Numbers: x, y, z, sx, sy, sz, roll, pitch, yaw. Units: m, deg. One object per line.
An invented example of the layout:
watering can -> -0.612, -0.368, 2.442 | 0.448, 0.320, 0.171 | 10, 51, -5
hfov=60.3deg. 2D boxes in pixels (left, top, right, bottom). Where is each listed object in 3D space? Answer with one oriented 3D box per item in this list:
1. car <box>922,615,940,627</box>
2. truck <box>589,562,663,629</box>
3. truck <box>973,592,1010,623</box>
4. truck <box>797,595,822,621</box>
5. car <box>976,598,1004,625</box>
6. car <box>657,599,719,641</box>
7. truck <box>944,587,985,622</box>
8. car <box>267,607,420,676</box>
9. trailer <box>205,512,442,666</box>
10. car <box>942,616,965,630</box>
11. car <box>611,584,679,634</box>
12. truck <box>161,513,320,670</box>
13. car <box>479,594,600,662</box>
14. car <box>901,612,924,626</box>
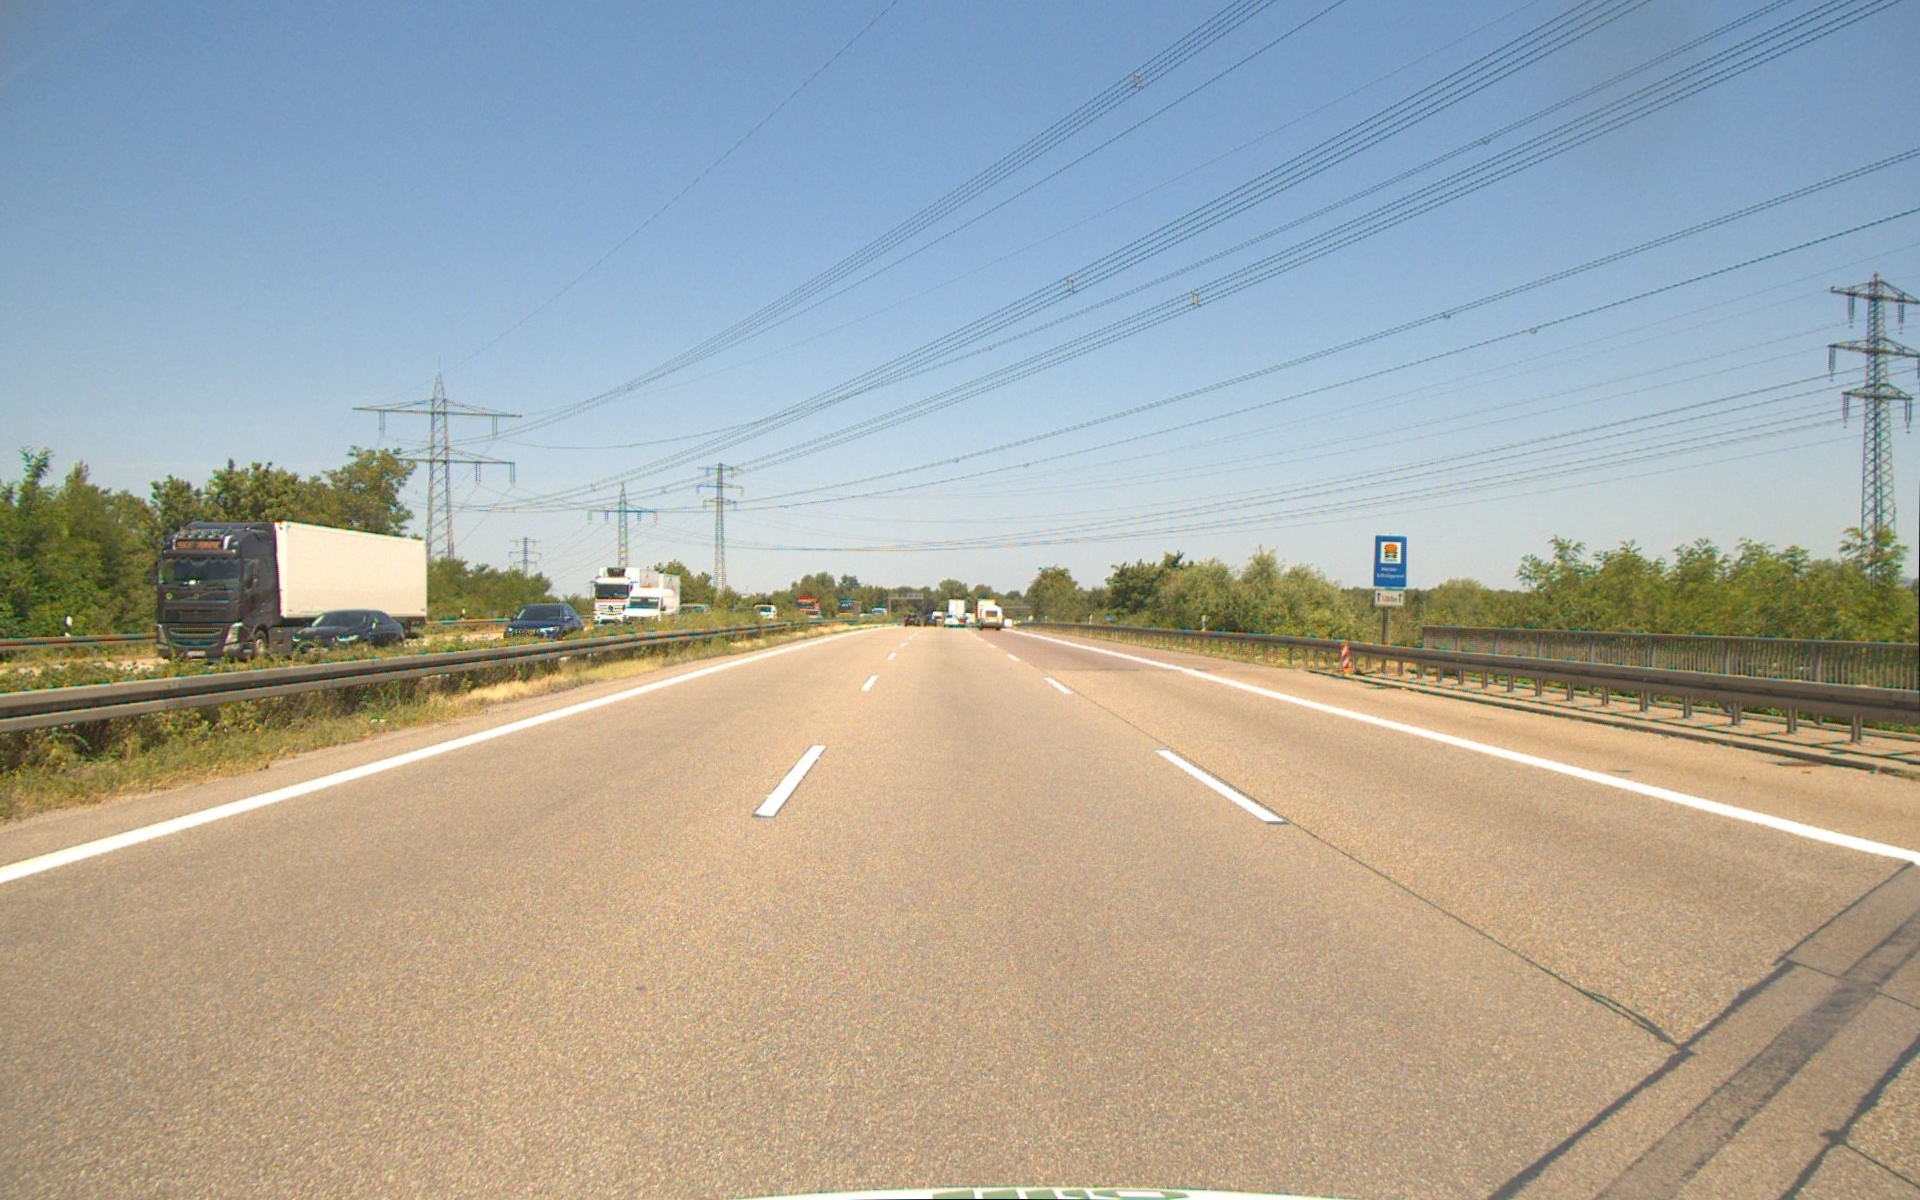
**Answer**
car -> -4.242, 3.082, 242.046 | 1.789, 1.574, 4.322 | 2, 0, 9
truck -> -21.277, -0.297, 105.955 | 2.637, 4.019, 10.590 | 2, 0, -1
truck -> 4.804, 1.147, 248.391 | 3.113, 4.379, 16.030 | 2, 0, 10
truck -> -20.972, 1.104, 231.030 | 2.714, 3.588, 8.532 | 2, 0, 0
car -> 2.699, 1.031, 149.903 | 2.392, 2.362, 5.320 | 0, 0, -1
car -> -13.982, 1.006, 85.286 | 2.432, 2.049, 4.556 | 2, 0, -1
truck -> 0.727, 0.698, 251.641 | 3.588, 5.106, 16.030 | 2, 0, 9
car -> -16.517, 1.075, 44.596 | 2.338, 1.669, 4.819 | 2, 0, -1
trailer -> -20.583, -0.328, 54.864 | 2.374, 4.364, 14.429 | 2, 0, -1
car -> -0.770, 2.700, 196.935 | 1.789, 1.574, 4.322 | 2, 0, 14
car -> -17.525, 0.466, 92.435 | 2.432, 2.624, 7.120 | 2, 0, -1
truck -> -20.477, -0.226, 47.358 | 2.374, 4.183, 4.919 | 2, 0, -1
car -> -13.365, 0.843, 53.026 | 2.432, 1.965, 5.738 | 2, 0, -1
car -> -5.369, 2.167, 188.002 | 1.789, 1.574, 4.322 | 2, 0, 9
